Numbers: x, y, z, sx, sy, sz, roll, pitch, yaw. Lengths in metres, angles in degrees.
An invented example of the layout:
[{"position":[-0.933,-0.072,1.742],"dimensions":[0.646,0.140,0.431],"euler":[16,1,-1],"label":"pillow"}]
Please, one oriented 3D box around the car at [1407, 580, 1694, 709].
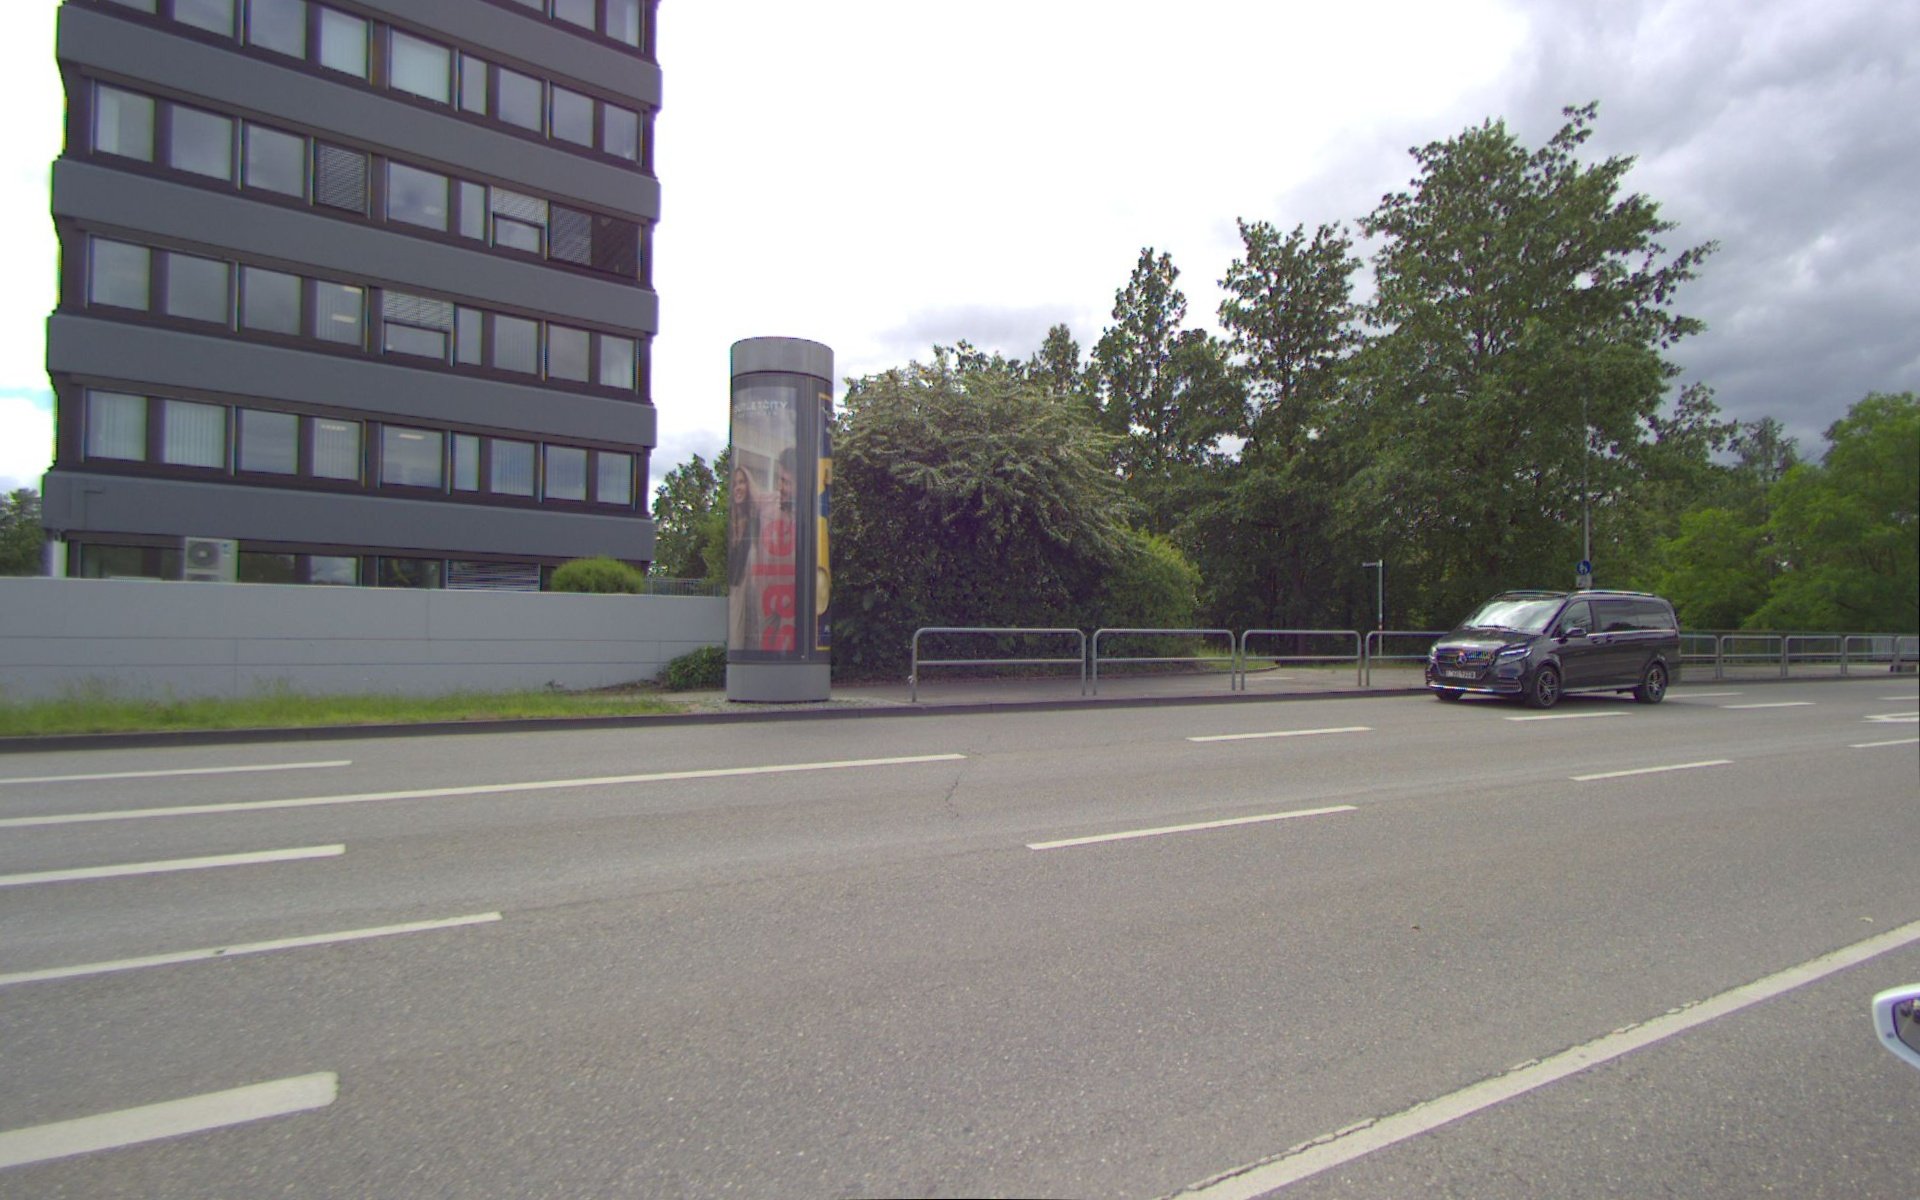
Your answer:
[{"position":[10.427,0.747,17.630],"dimensions":[5.301,1.973,2.009],"euler":[1,-1,-30],"label":"car"}]
